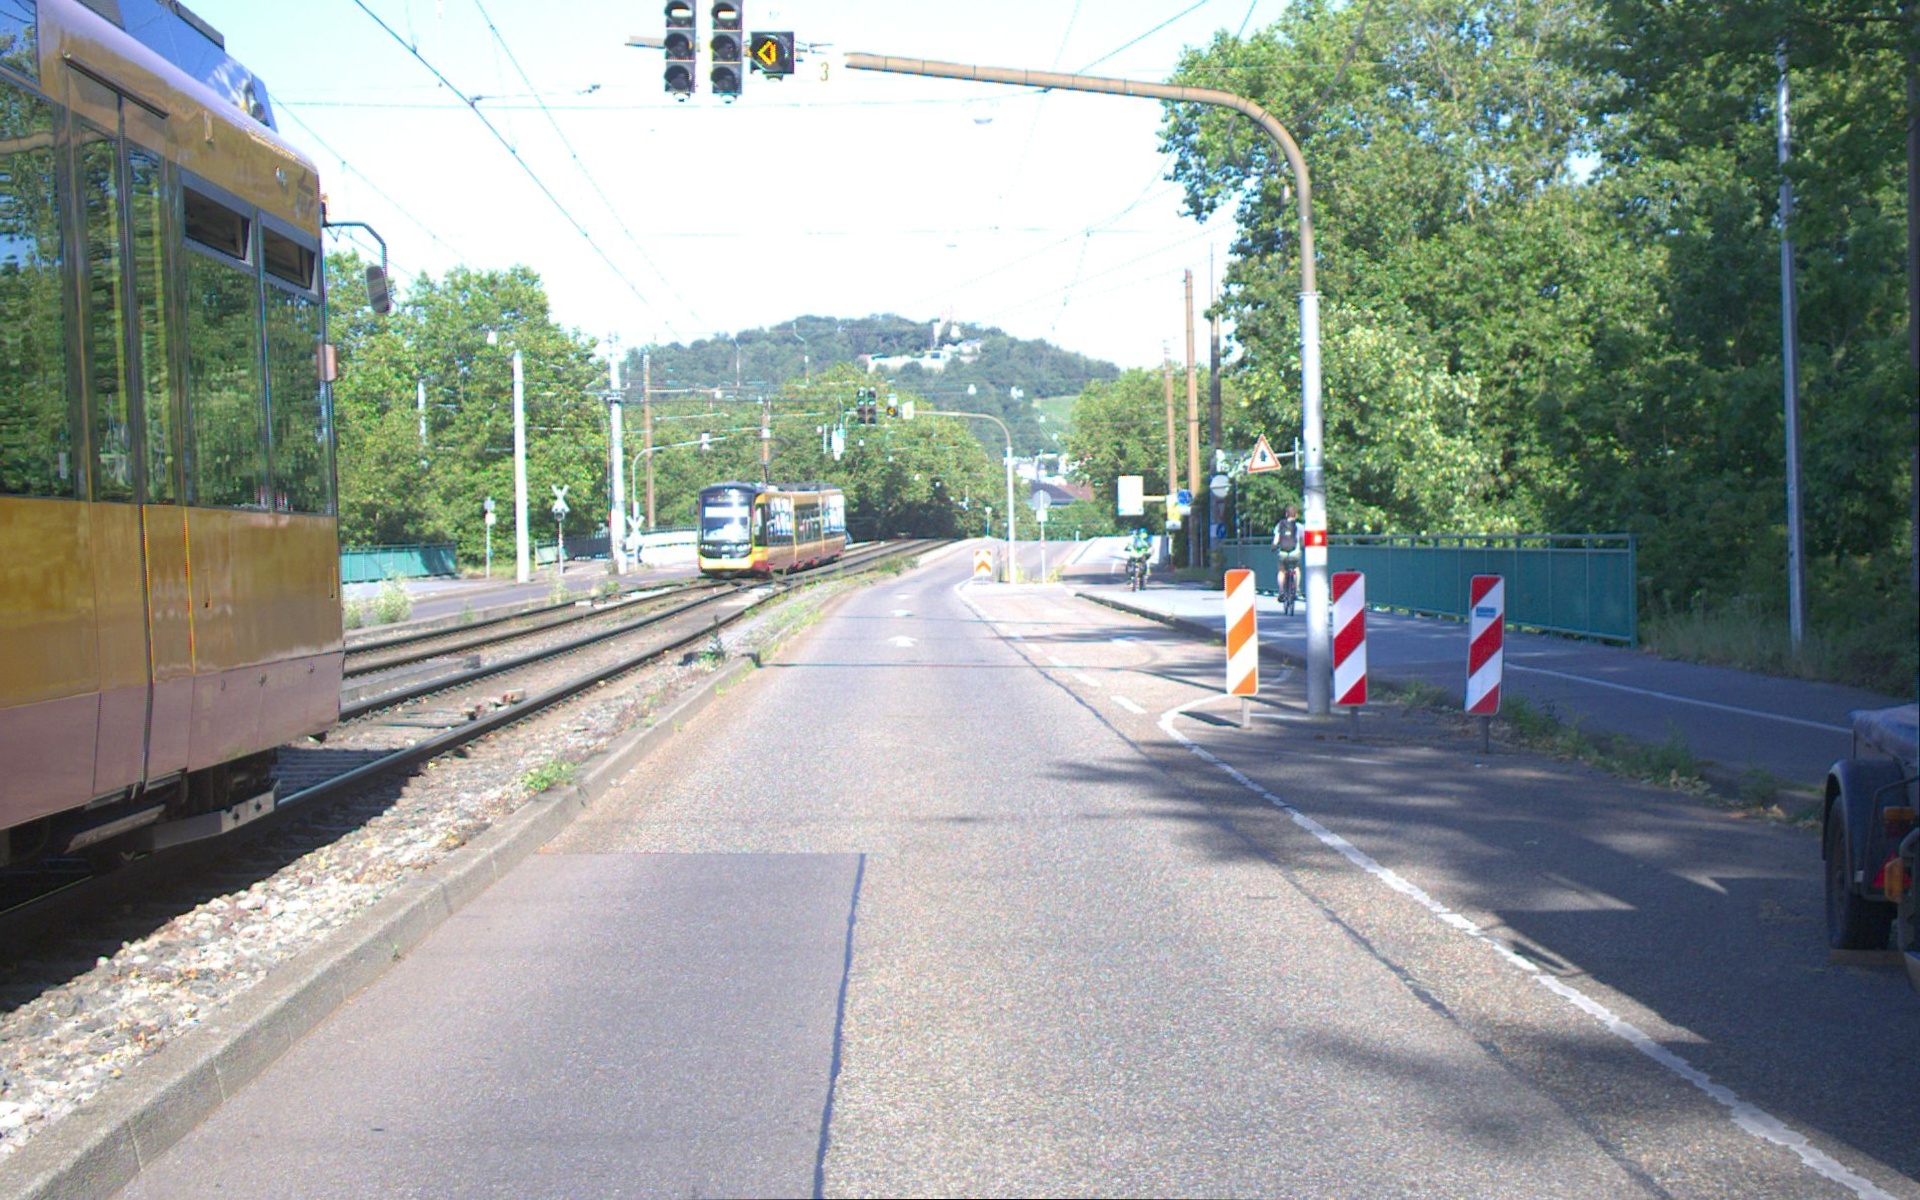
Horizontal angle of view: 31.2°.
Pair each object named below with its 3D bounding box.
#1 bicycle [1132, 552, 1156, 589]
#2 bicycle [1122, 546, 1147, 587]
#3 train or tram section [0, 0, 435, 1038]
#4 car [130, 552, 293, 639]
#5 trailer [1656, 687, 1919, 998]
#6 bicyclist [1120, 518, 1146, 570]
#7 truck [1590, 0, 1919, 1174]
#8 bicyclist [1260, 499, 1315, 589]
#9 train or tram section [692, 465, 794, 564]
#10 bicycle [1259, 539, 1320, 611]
[{"bbox_3d":[5.290,-0.864,98.954,0.539,1.038,1.975,-1,1,-1],"label":"bicycle"},{"bbox_3d":[4.585,-0.897,90.614,0.515,1.038,1.975,-1,1,-1],"label":"bicycle"},{"bbox_3d":[-4.196,-0.790,12.158,2.719,4.075,12.814,-2,1,-1],"label":"train or tram section"},{"bbox_3d":[-12.921,-0.104,59.618,1.767,1.408,4.912,0,1,0],"label":"car"},{"bbox_3d":[3.828,0.845,13.143,1.576,0.856,3.502,-1,1,-1],"label":"trailer"},{"bbox_3d":[4.570,-1.481,90.624,0.604,1.374,0.975,-1,1,-1],"label":"bicyclist"},{"bbox_3d":[3.595,-0.533,6.656,2.717,3.770,9.762,1,1,-1],"label":"truck"},{"bbox_3d":[5.638,-0.964,59.199,0.824,1.515,0.975,-1,1,-1],"label":"bicyclist"},{"bbox_3d":[-8.176,-3.252,131.029,2.644,3.554,10.832,-1,1,3],"label":"train or tram section"},{"bbox_3d":[5.654,-0.442,59.186,0.727,1.172,2.695,-1,1,-1],"label":"bicycle"}]
